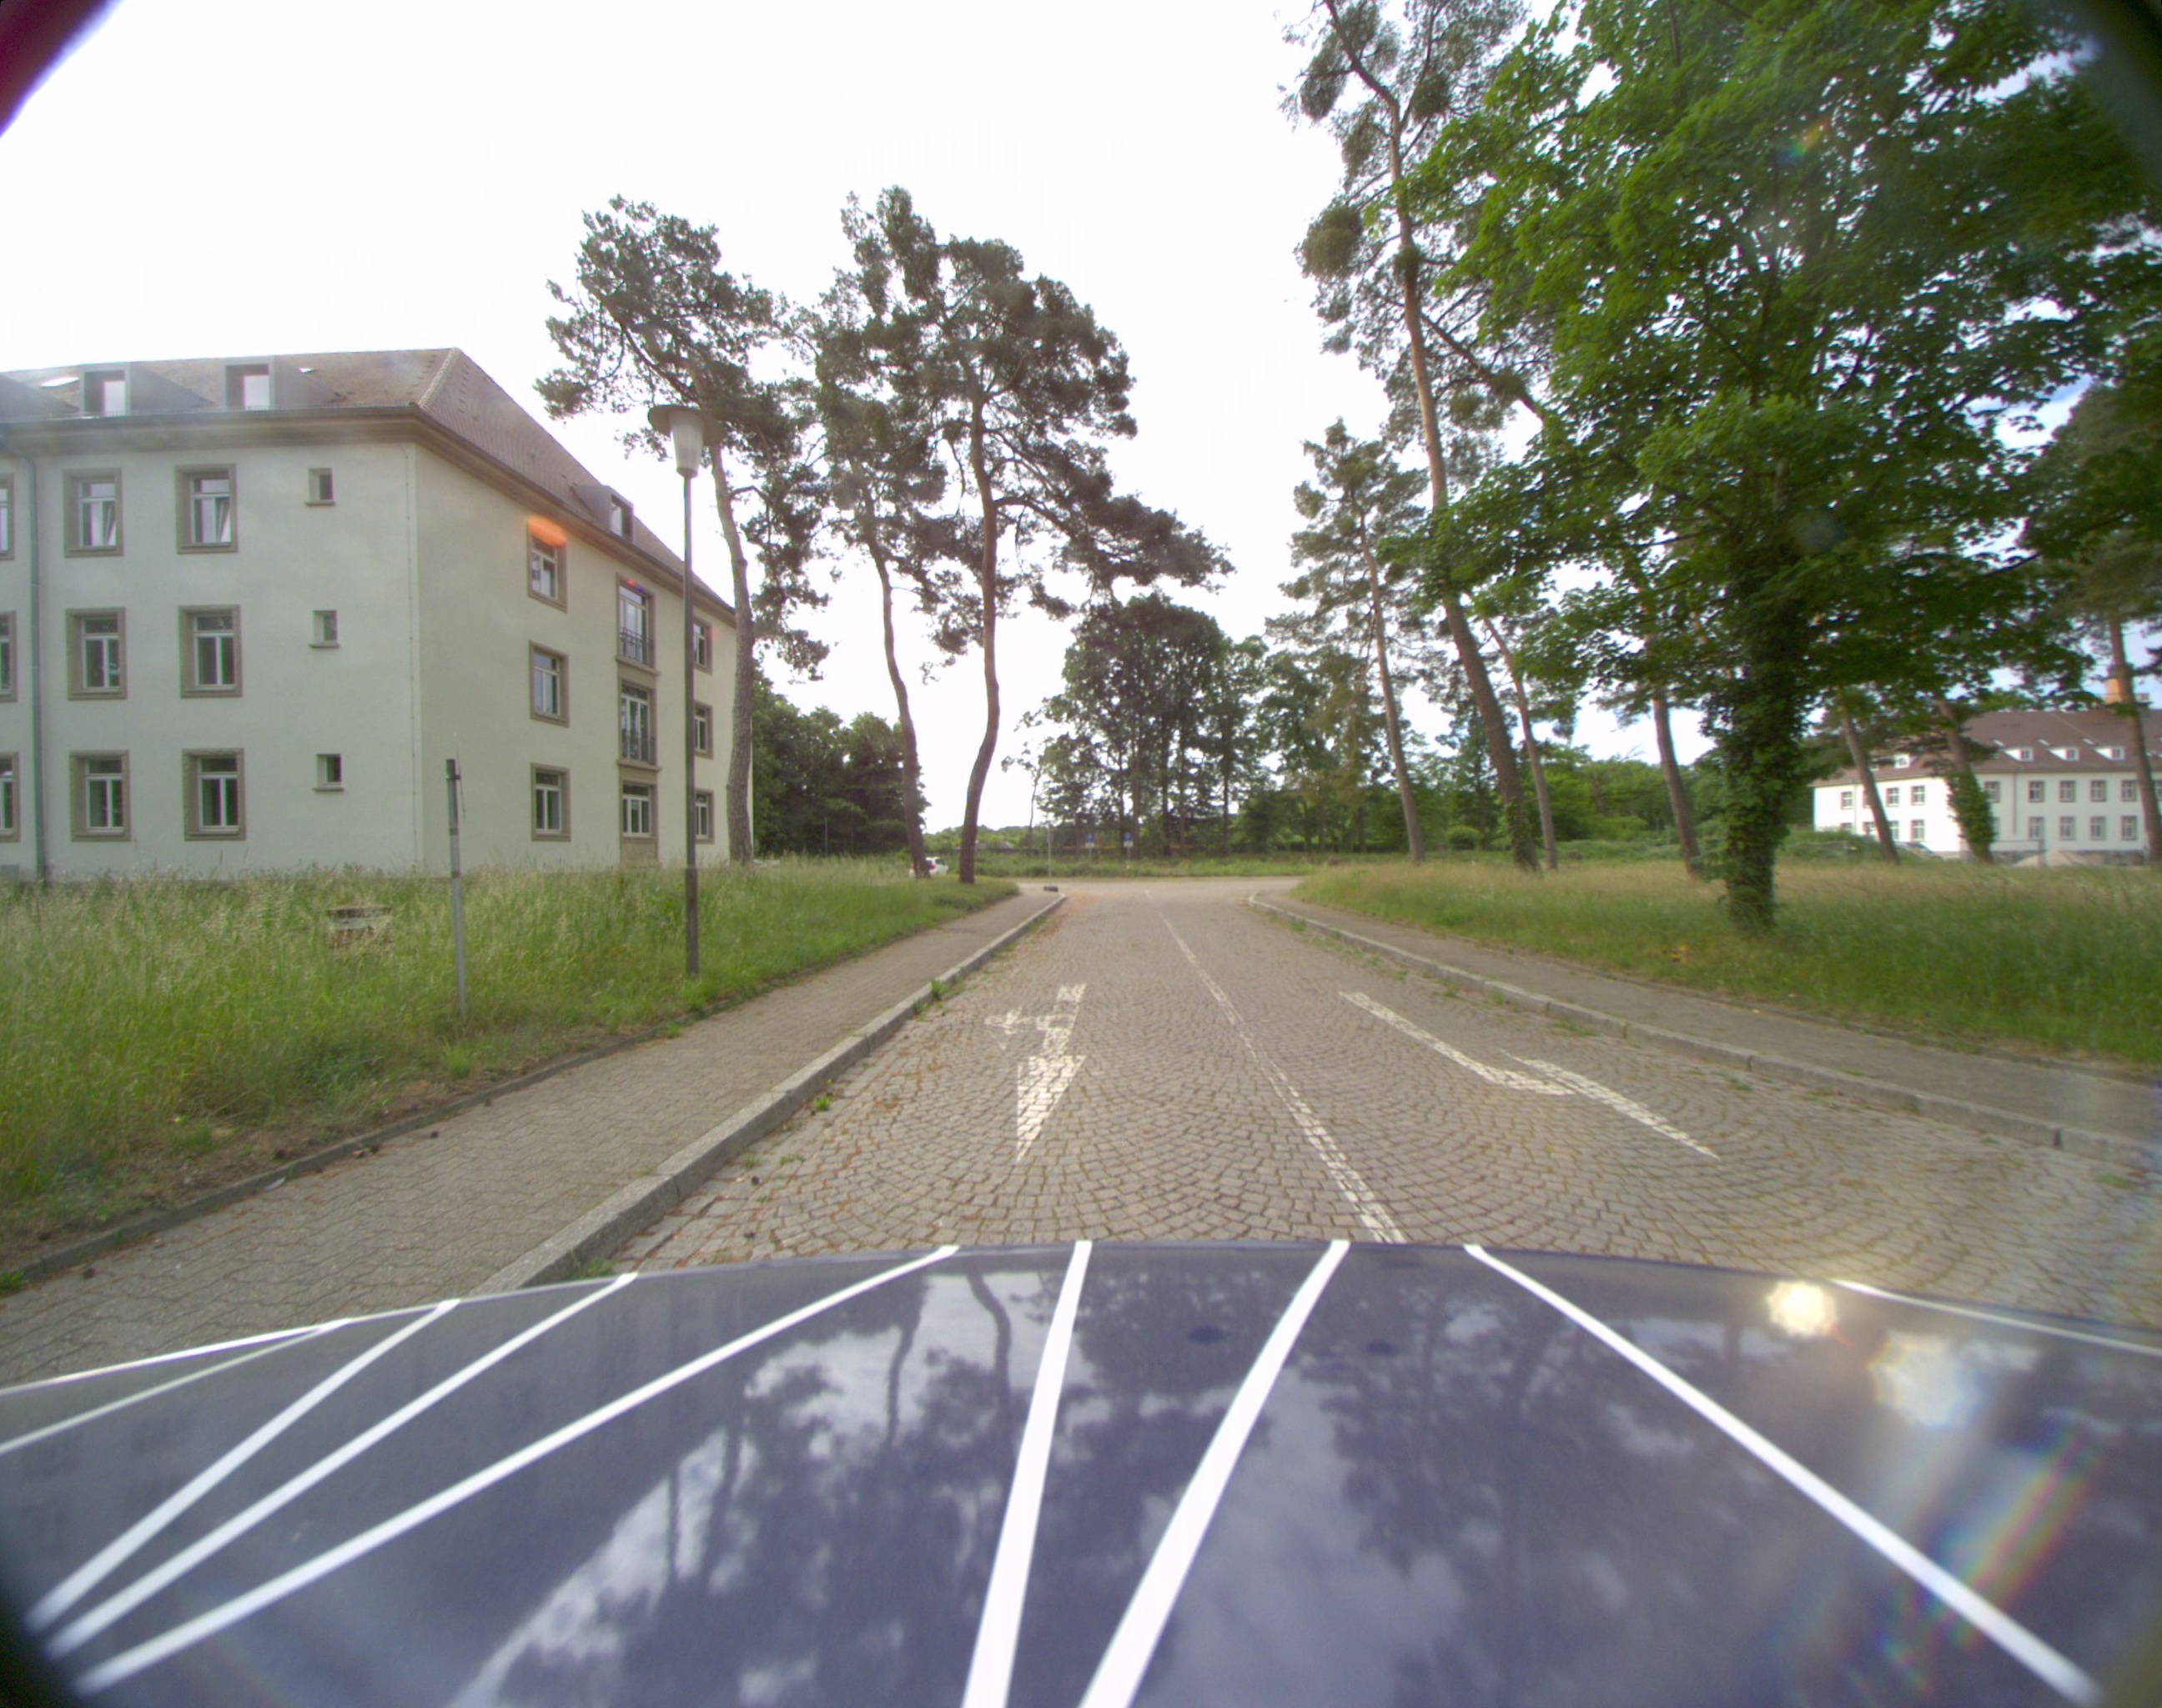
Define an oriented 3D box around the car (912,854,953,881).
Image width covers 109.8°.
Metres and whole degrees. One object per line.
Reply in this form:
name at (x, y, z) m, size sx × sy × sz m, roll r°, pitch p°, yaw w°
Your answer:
car at (-9.015, 0.775, 46.266) m, size 1.640 × 1.426 × 3.277 m, roll -1°, pitch 3°, yaw 3°
